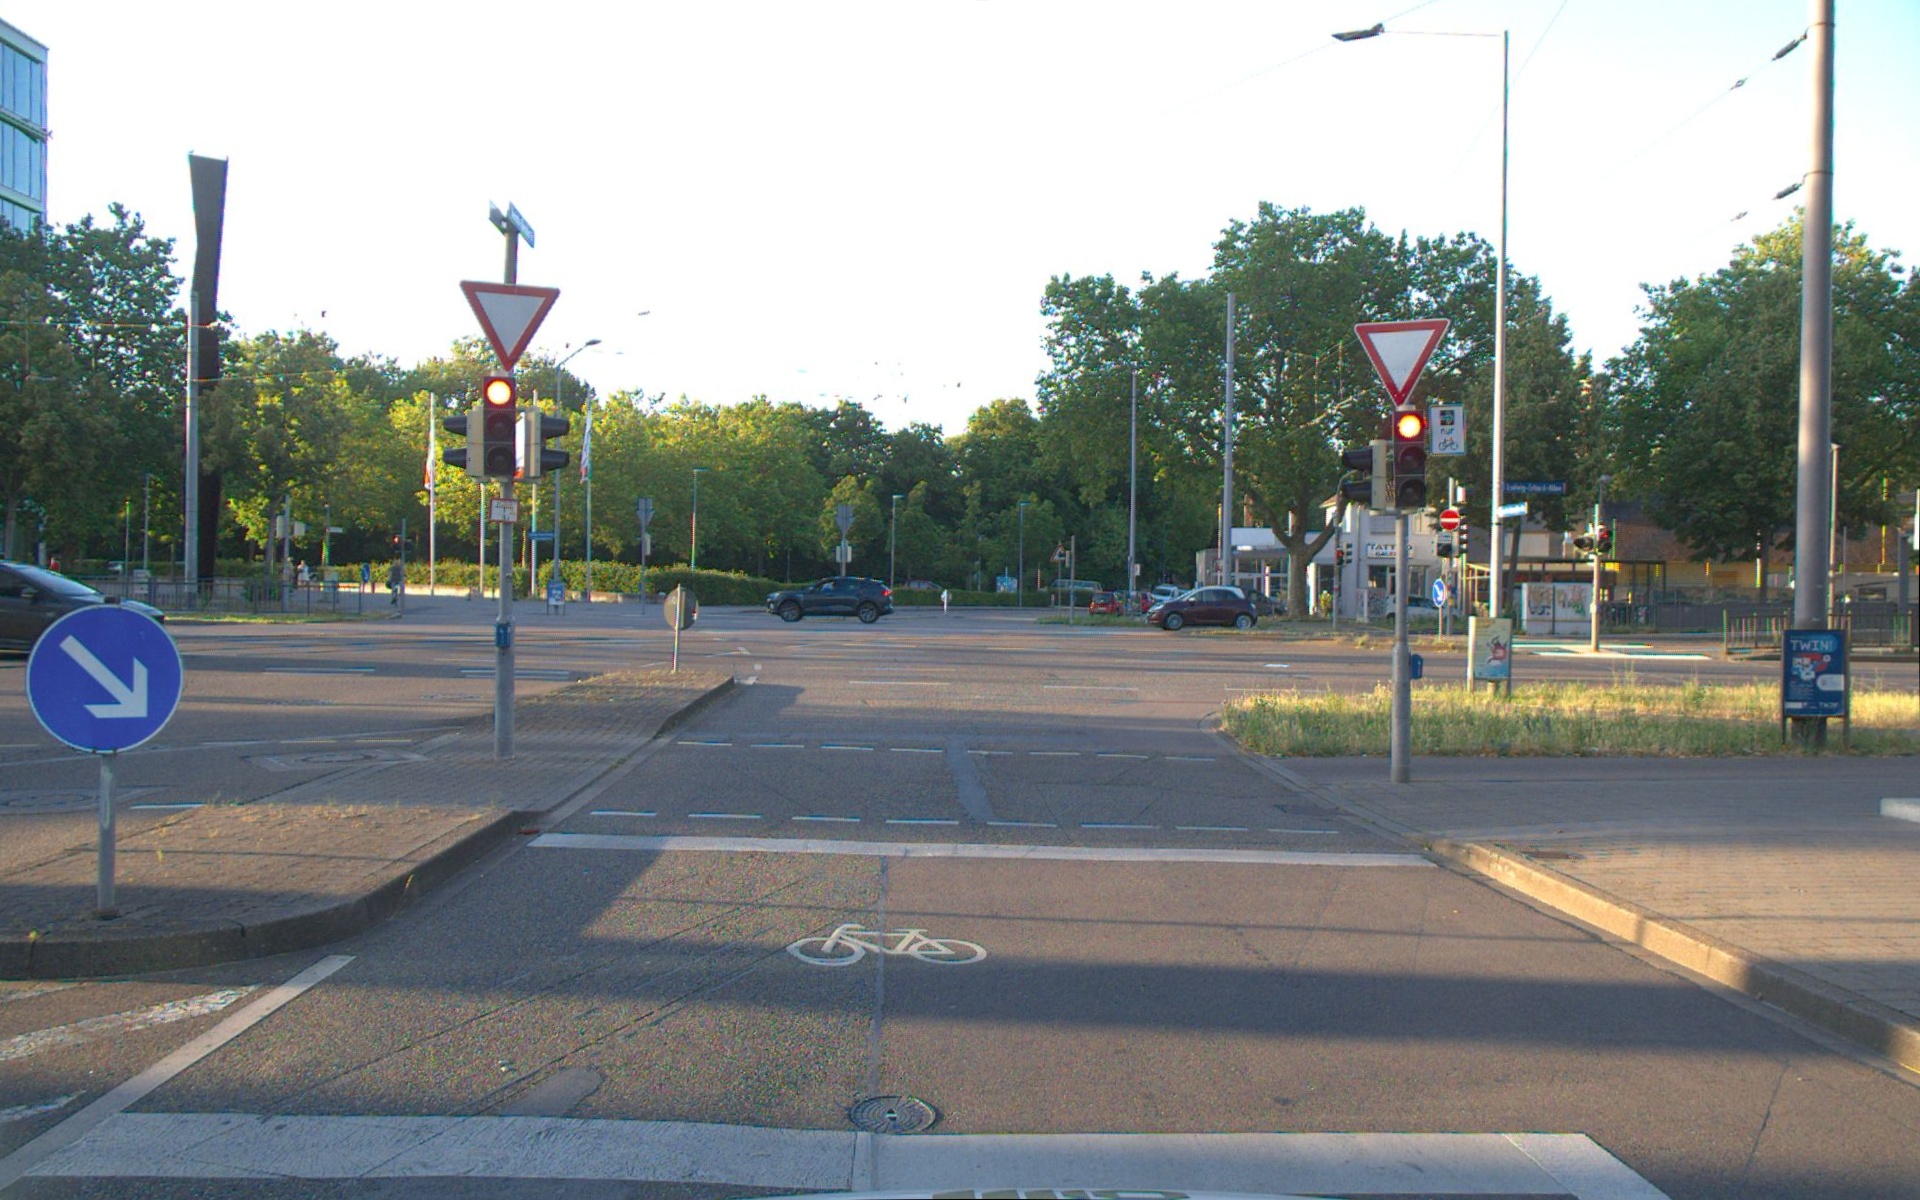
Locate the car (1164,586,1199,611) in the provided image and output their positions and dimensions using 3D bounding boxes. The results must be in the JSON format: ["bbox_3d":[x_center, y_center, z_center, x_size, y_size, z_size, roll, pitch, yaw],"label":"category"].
[{"bbox_3d":[15.547,-0.078,115.839,1.951,1.691,4.003,0,-1,14],"label":"car"}]

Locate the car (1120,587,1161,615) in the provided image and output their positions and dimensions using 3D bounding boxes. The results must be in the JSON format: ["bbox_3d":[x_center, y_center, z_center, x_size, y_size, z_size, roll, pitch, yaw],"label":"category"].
[{"bbox_3d":[11.313,0.081,103.547,1.951,1.691,4.003,0,-1,14],"label":"car"}]

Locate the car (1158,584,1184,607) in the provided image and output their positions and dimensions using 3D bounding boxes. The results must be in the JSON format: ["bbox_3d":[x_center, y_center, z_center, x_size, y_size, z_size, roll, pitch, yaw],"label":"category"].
[{"bbox_3d":[17.398,-0.369,136.357,1.823,1.825,4.003,0,-1,12],"label":"car"}]

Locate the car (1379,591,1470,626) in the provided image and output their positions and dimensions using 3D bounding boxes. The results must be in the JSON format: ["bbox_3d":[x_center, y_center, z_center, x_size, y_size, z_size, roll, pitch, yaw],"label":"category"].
[{"bbox_3d":[20.313,0.376,72.421,3.659,1.465,1.665,1,-1,9],"label":"car"}]

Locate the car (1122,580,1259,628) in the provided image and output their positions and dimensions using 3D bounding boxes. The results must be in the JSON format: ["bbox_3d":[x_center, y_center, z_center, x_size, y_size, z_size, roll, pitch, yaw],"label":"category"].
[{"bbox_3d":[7.542,0.137,54.381,4.242,1.522,1.804,1,-1,1],"label":"car"}]

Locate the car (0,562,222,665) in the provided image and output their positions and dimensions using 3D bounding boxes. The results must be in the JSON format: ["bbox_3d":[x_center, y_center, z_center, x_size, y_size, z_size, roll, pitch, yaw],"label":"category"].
[{"bbox_3d":[-14.418,0.186,25.793,4.914,1.537,1.984,1,0,-8],"label":"car"}]

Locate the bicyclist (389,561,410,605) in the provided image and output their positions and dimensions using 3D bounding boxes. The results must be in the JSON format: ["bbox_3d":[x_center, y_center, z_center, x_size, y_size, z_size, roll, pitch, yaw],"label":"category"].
[{"bbox_3d":[-22.472,-0.697,66.323,0.740,1.739,0.914,1,0,-21],"label":"bicyclist"}]

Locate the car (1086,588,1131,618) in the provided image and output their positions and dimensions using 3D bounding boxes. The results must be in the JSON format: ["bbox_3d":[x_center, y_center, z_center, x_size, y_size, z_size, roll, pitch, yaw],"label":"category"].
[{"bbox_3d":[8.616,0.208,95.817,1.951,1.691,4.003,0,-1,14],"label":"car"}]

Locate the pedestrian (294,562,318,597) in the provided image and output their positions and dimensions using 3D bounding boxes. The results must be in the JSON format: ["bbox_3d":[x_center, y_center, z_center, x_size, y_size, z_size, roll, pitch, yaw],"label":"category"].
[{"bbox_3d":[-33.681,-1.061,85.158,0.845,1.774,0.828,1,0,33],"label":"pedestrian"}]

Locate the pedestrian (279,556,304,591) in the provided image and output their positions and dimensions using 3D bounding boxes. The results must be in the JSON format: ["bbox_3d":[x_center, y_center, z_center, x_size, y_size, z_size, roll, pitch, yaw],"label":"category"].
[{"bbox_3d":[-34.089,-1.361,84.288,0.844,1.774,0.829,1,0,29],"label":"pedestrian"}]

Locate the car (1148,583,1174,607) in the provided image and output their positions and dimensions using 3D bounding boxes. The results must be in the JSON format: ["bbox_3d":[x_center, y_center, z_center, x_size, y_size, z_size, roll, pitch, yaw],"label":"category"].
[{"bbox_3d":[15.990,-0.379,131.442,1.823,1.825,4.003,1,-1,10],"label":"car"}]

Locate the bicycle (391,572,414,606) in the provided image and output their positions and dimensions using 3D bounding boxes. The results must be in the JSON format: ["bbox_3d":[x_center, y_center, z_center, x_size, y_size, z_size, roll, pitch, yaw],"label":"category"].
[{"bbox_3d":[-22.380,-0.448,66.331,0.720,1.364,2.673,1,0,-22],"label":"bicycle"}]

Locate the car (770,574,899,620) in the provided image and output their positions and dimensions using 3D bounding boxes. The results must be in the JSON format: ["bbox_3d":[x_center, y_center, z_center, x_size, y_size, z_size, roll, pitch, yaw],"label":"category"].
[{"bbox_3d":[-4.248,-0.089,56.456,4.242,1.522,1.804,1,-1,1],"label":"car"}]

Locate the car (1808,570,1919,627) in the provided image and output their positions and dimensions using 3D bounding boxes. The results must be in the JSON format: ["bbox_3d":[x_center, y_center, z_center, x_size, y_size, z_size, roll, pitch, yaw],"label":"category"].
[{"bbox_3d":[43.671,-0.070,78.687,5.476,2.596,2.231,1,0,7],"label":"car"}]

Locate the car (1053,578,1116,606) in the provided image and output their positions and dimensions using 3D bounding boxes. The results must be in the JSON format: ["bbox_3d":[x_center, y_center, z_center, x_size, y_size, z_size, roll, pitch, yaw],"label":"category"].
[{"bbox_3d":[9.500,-0.606,126.031,4.675,2.041,2.000,1,-1,1],"label":"car"}]
